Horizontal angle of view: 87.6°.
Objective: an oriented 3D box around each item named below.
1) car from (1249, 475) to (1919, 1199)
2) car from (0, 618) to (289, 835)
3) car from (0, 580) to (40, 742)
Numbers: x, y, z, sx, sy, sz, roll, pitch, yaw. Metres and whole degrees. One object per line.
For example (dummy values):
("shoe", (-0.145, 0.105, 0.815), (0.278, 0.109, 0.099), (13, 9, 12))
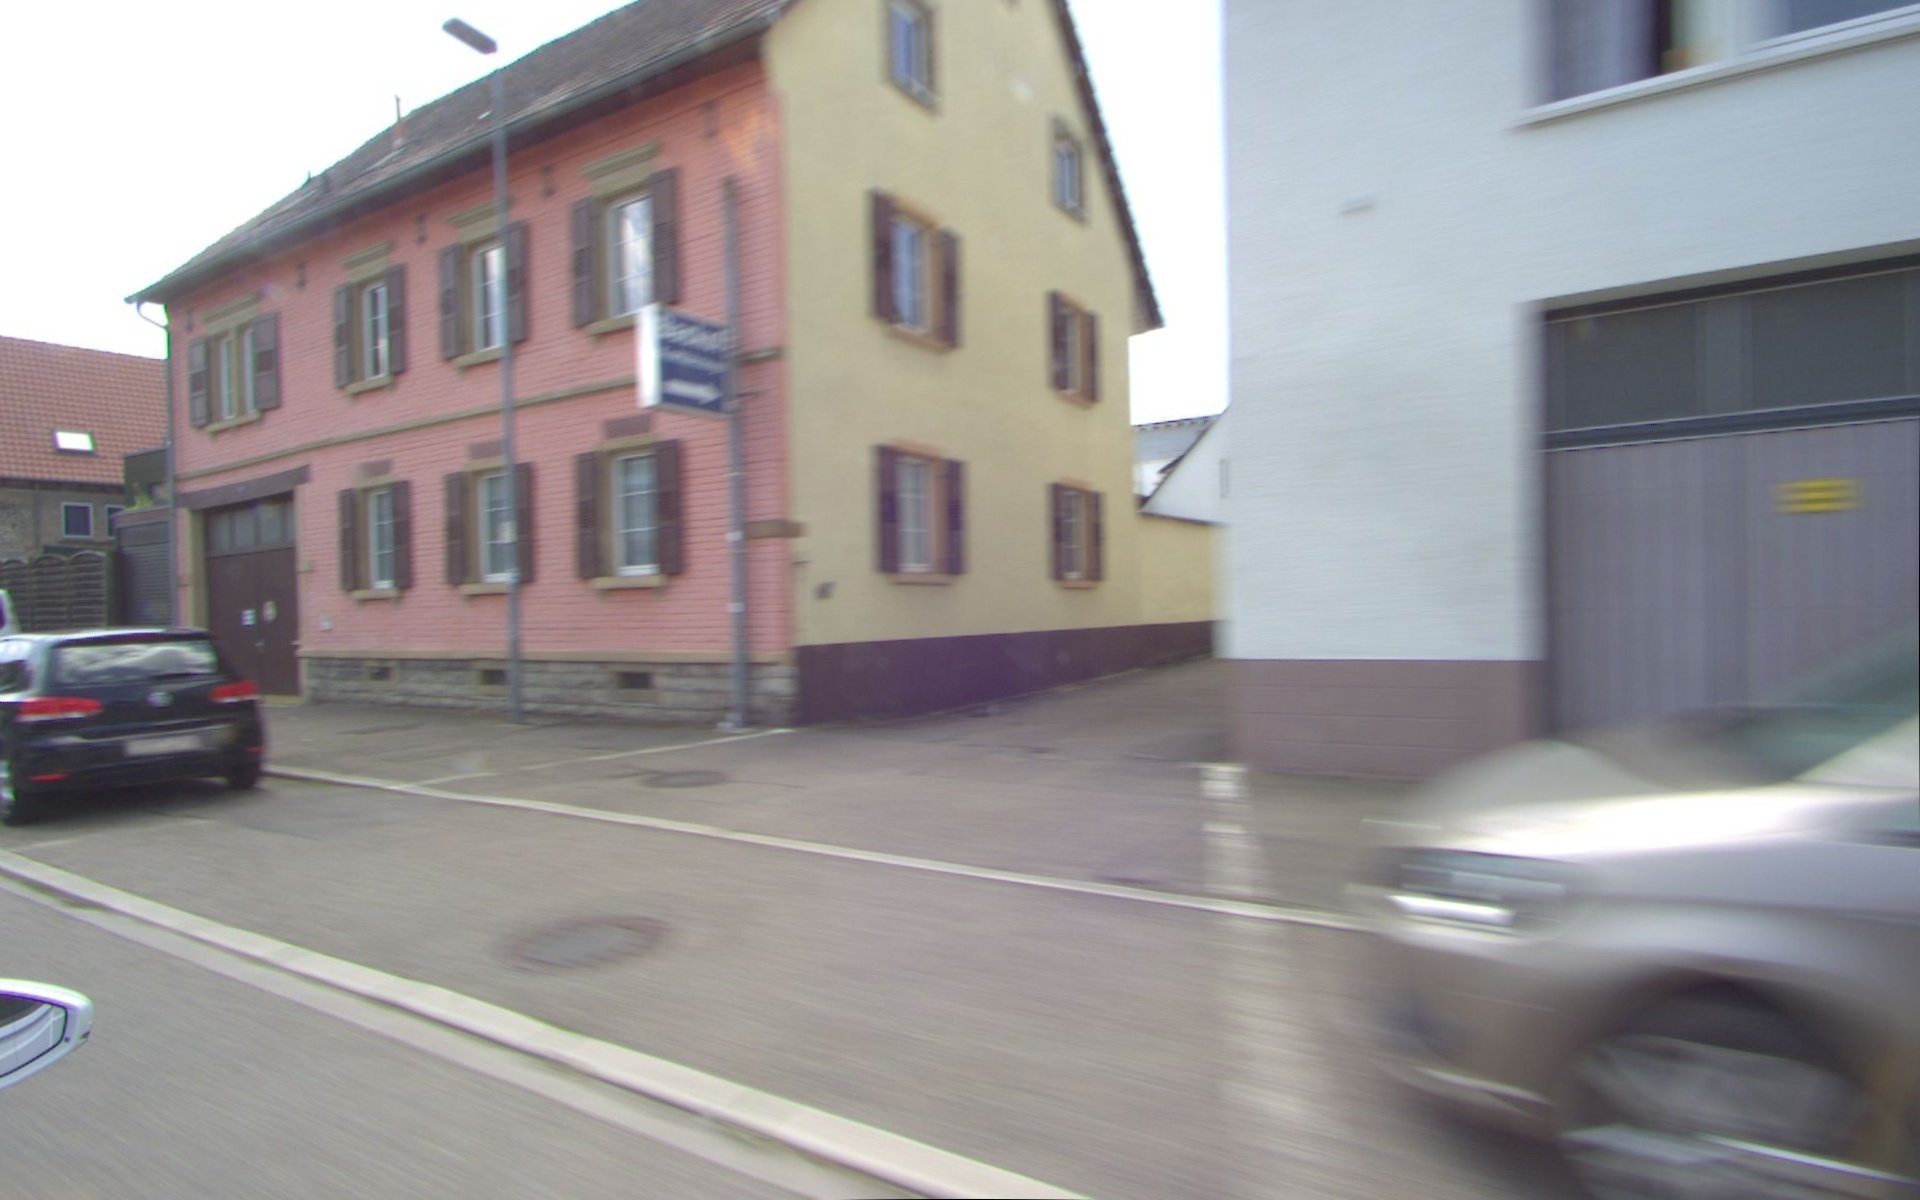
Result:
("car", (3.068, 0.581, 2.204), (4.264, 1.703, 1.988), (-2, 0, 34))
("car", (-8.027, 0.976, 9.111), (4.105, 1.515, 1.769), (-2, 0, 34))
("car", (-14.288, 0.854, 13.302), (4.864, 2.009, 1.886), (-2, 2, 34))
